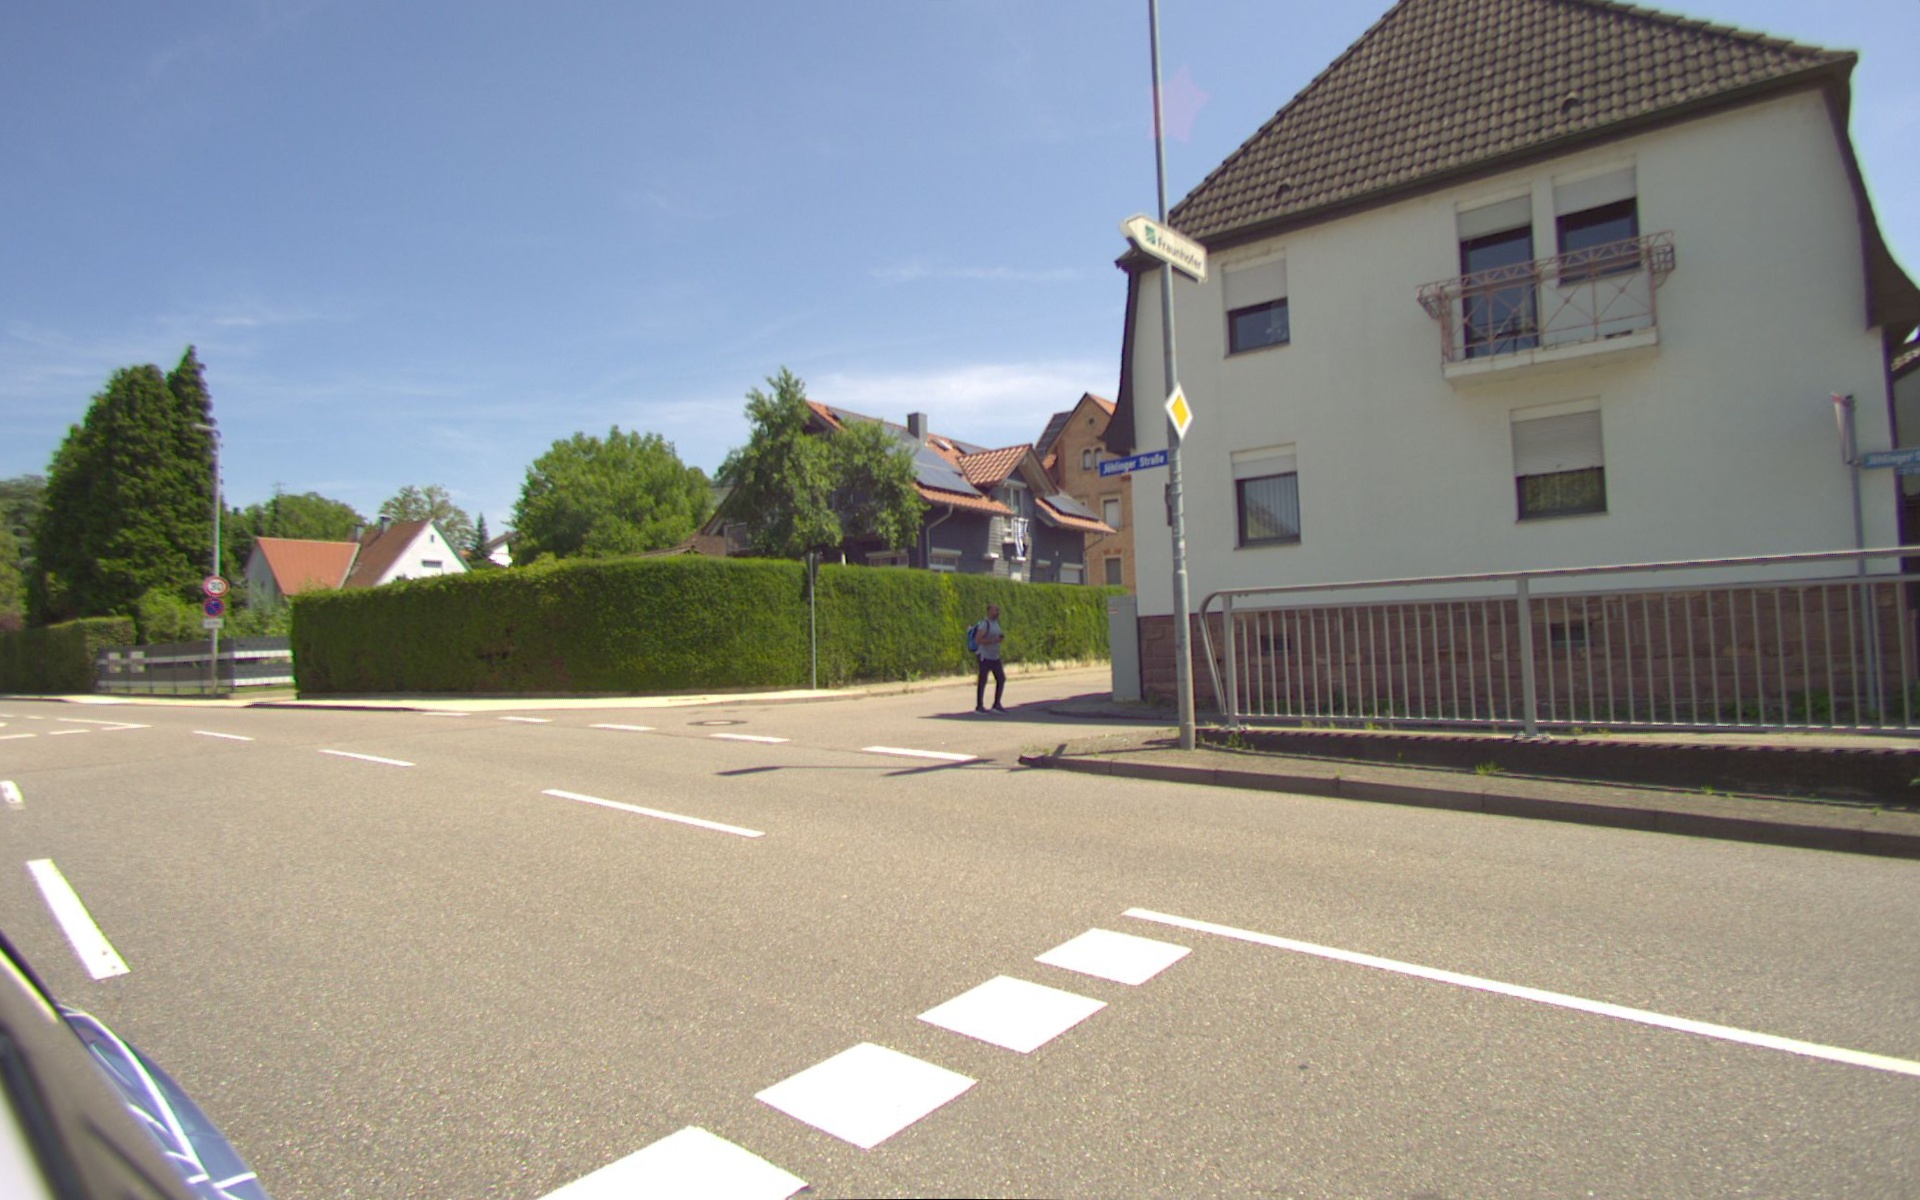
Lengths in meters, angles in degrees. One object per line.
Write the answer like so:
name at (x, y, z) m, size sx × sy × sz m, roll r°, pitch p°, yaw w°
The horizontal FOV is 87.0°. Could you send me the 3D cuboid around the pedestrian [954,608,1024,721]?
pedestrian at (0.470, 1.004, 16.237) m, size 0.854 × 1.742 × 0.721 m, roll -1°, pitch -1°, yaw 36°
